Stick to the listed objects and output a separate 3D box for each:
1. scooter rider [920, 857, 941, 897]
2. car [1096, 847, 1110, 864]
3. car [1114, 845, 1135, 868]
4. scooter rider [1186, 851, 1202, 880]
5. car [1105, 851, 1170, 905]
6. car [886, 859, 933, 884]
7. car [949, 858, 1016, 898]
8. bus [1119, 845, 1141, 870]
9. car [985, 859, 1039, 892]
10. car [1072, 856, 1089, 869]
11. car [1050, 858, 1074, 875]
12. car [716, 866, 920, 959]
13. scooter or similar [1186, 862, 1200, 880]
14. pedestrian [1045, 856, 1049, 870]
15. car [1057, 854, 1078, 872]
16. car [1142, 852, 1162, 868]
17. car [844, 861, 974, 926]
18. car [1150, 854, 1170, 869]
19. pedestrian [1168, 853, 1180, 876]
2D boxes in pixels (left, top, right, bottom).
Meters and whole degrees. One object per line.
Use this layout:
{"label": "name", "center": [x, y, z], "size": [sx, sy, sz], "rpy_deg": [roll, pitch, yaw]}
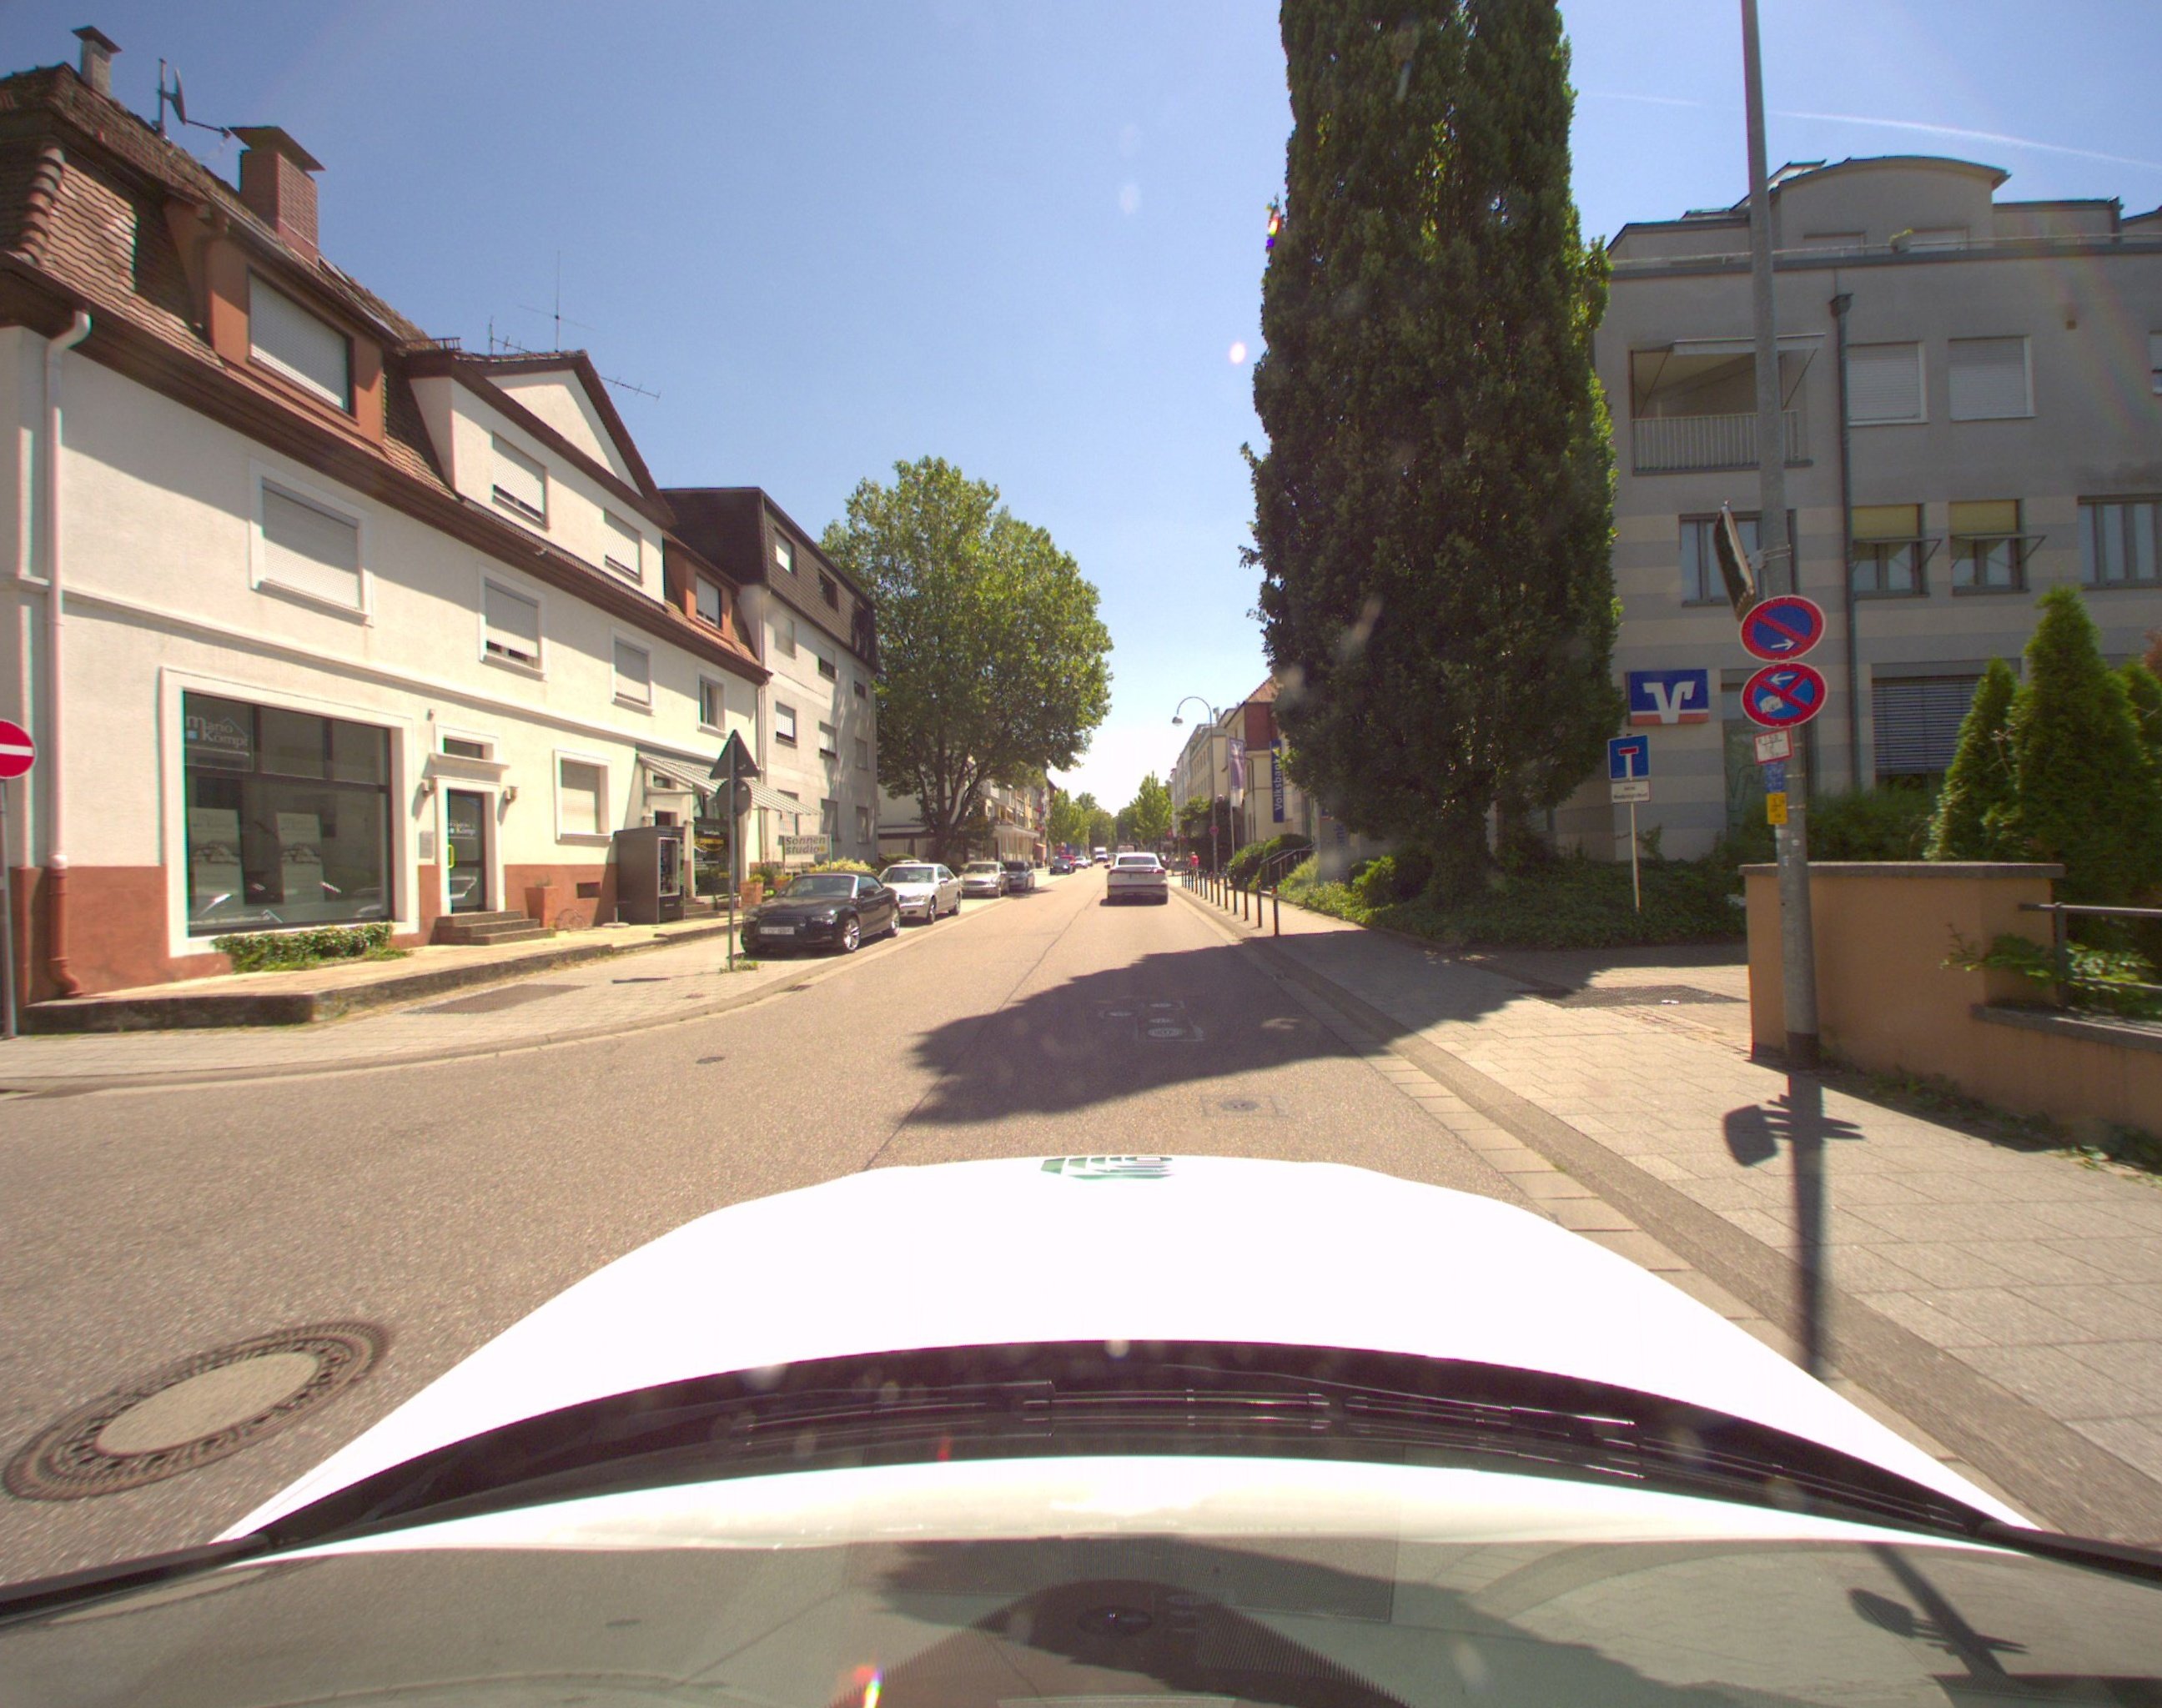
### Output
{"label": "scooter rider", "center": [-6.010, 0.923, 32.592], "size": [0.586, 1.575, 0.878], "rpy_deg": [0, 0, 4]}
{"label": "car", "center": [3.651, 0.317, 136.446], "size": [2.030, 2.630, 7.105], "rpy_deg": [-4, 0, -1]}
{"label": "car", "center": [4.748, 0.316, 88.153], "size": [2.147, 2.442, 5.288], "rpy_deg": [0, 0, 3]}
{"label": "scooter rider", "center": [6.348, 0.631, 45.790], "size": [0.713, 1.548, 0.770], "rpy_deg": [-3, 0, 1]}
{"label": "car", "center": [1.794, 0.742, 26.810], "size": [1.986, 1.633, 4.002], "rpy_deg": [0, 0, 2]}
{"label": "car", "center": [-10.816, 1.102, 51.219], "size": [1.902, 1.486, 3.960], "rpy_deg": [-2, 0, -27]}
{"label": "car", "center": [-3.938, 0.933, 33.352], "size": [1.973, 1.452, 4.870], "rpy_deg": [-1, 0, 2]}
{"label": "bus", "center": [6.479, 0.474, 107.607], "size": [2.648, 3.221, 7.312], "rpy_deg": [0, 0, 6]}
{"label": "car", "center": [-3.226, 0.972, 39.227], "size": [1.973, 1.452, 5.153], "rpy_deg": [-1, 0, 2]}
{"label": "car", "center": [-0.038, 1.007, 104.060], "size": [1.744, 1.618, 4.406], "rpy_deg": [0, 0, 4]}
{"label": "car", "center": [-1.690, 1.115, 74.294], "size": [1.888, 1.417, 5.051], "rpy_deg": [0, 0, 3]}
{"label": "car", "center": [-4.719, 0.982, 15.562], "size": [1.934, 1.373, 5.103], "rpy_deg": [-1, 0, 4]}
{"label": "scooter or similar", "center": [6.382, 0.970, 46.383], "size": [0.660, 0.963, 0.754], "rpy_deg": [-2, 0, 3]}
{"label": "pedestrian", "center": [-4.190, 1.150, 100.605], "size": [0.394, 1.735, 0.444], "rpy_deg": [-2, -1, -8]}
{"label": "car", "center": [-1.303, 0.906, 80.764], "size": [1.745, 1.702, 4.104], "rpy_deg": [0, 0, 3]}
{"label": "car", "center": [8.058, 0.674, 92.579], "size": [1.849, 1.674, 4.537], "rpy_deg": [-3, 0, 1]}
{"label": "car", "center": [-4.357, 0.937, 21.627], "size": [1.972, 1.452, 5.363], "rpy_deg": [-1, 0, 4]}
{"label": "car", "center": [7.820, 0.716, 81.083], "size": [1.887, 1.438, 4.550], "rpy_deg": [-2, 0, 5]}
{"label": "pedestrian", "center": [6.680, 0.771, 58.713], "size": [0.697, 1.627, 0.784], "rpy_deg": [-5, -1, 1]}
